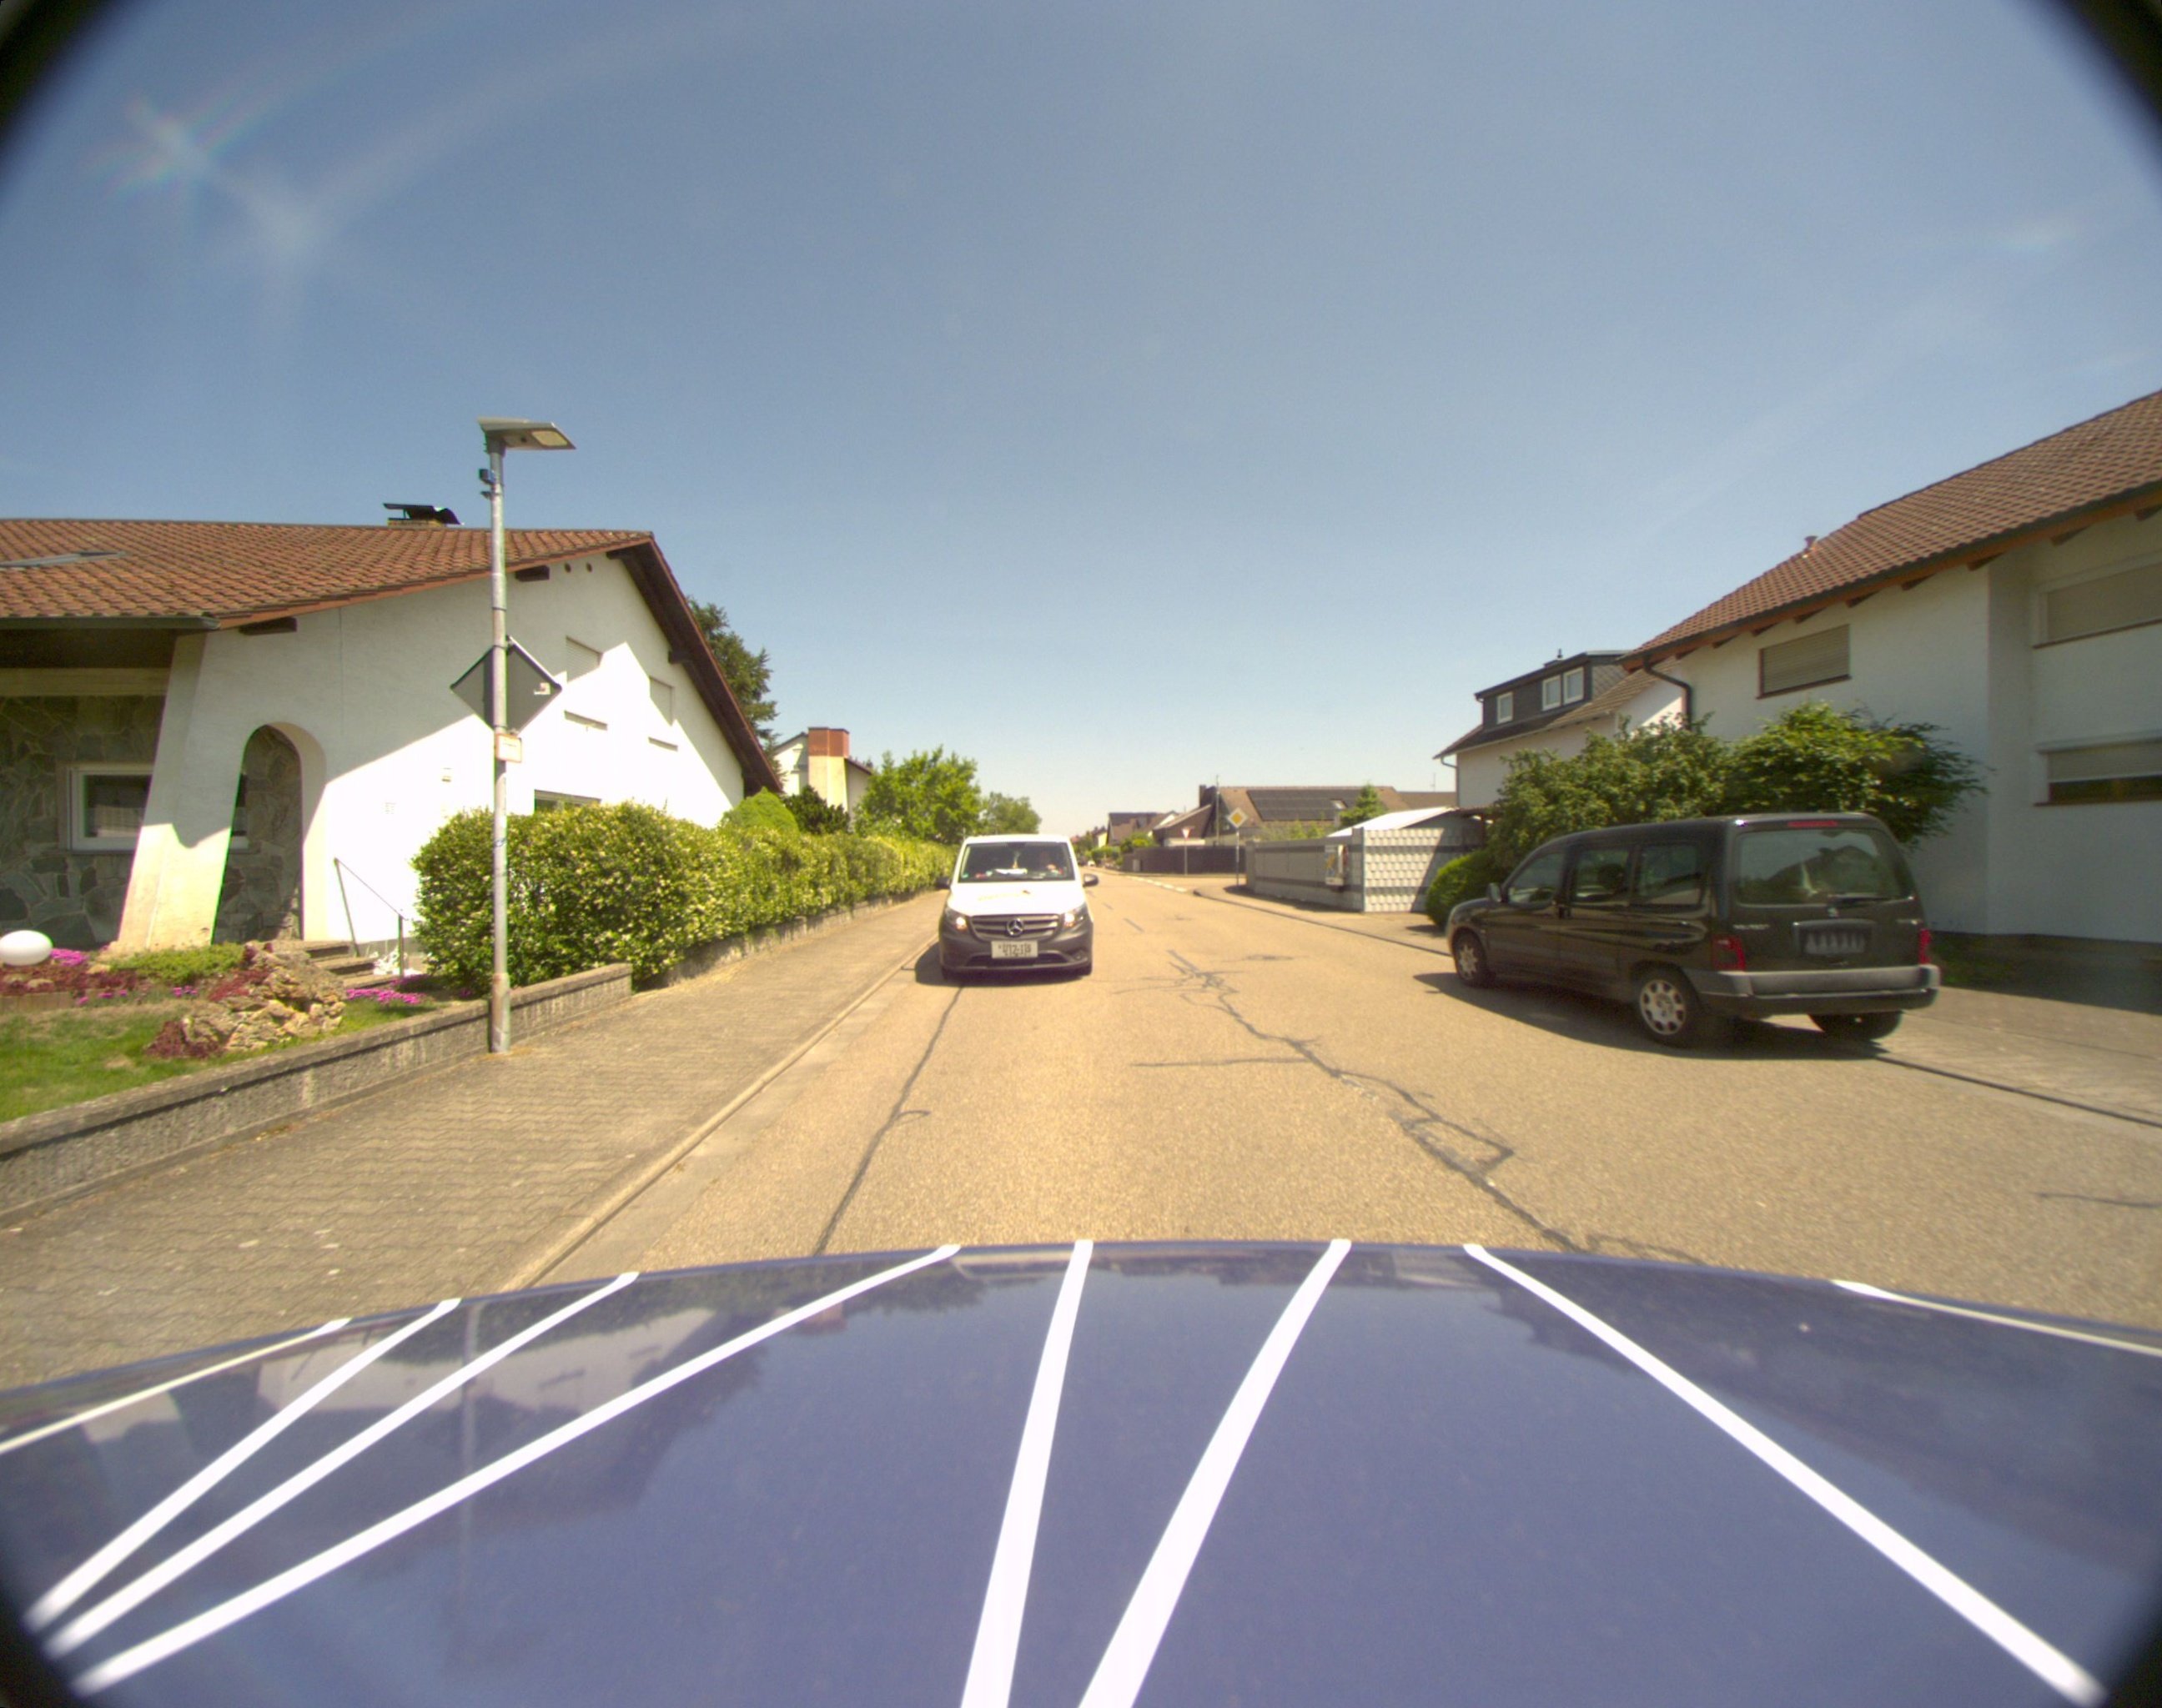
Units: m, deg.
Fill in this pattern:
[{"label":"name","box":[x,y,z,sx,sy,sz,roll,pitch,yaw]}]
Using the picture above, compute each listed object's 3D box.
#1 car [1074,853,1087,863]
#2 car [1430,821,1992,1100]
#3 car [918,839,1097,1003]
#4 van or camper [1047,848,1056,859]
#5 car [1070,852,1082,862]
[{"label":"car","box":[-0.131,0.504,106.096,1.808,1.390,3.999,-1,0,-1]},{"label":"car","box":[5.174,0.692,7.116,1.723,1.835,4.052,-1,0,-4]},{"label":"car","box":[-0.998,0.741,11.209,2.019,1.846,5.065,-1,1,-4]},{"label":"van or camper","box":[-7.262,-0.087,184.944,2.070,2.577,4.601,0,0,-4]},{"label":"car","box":[-0.800,0.475,122.119,1.999,1.390,3.999,-1,1,-1]}]
